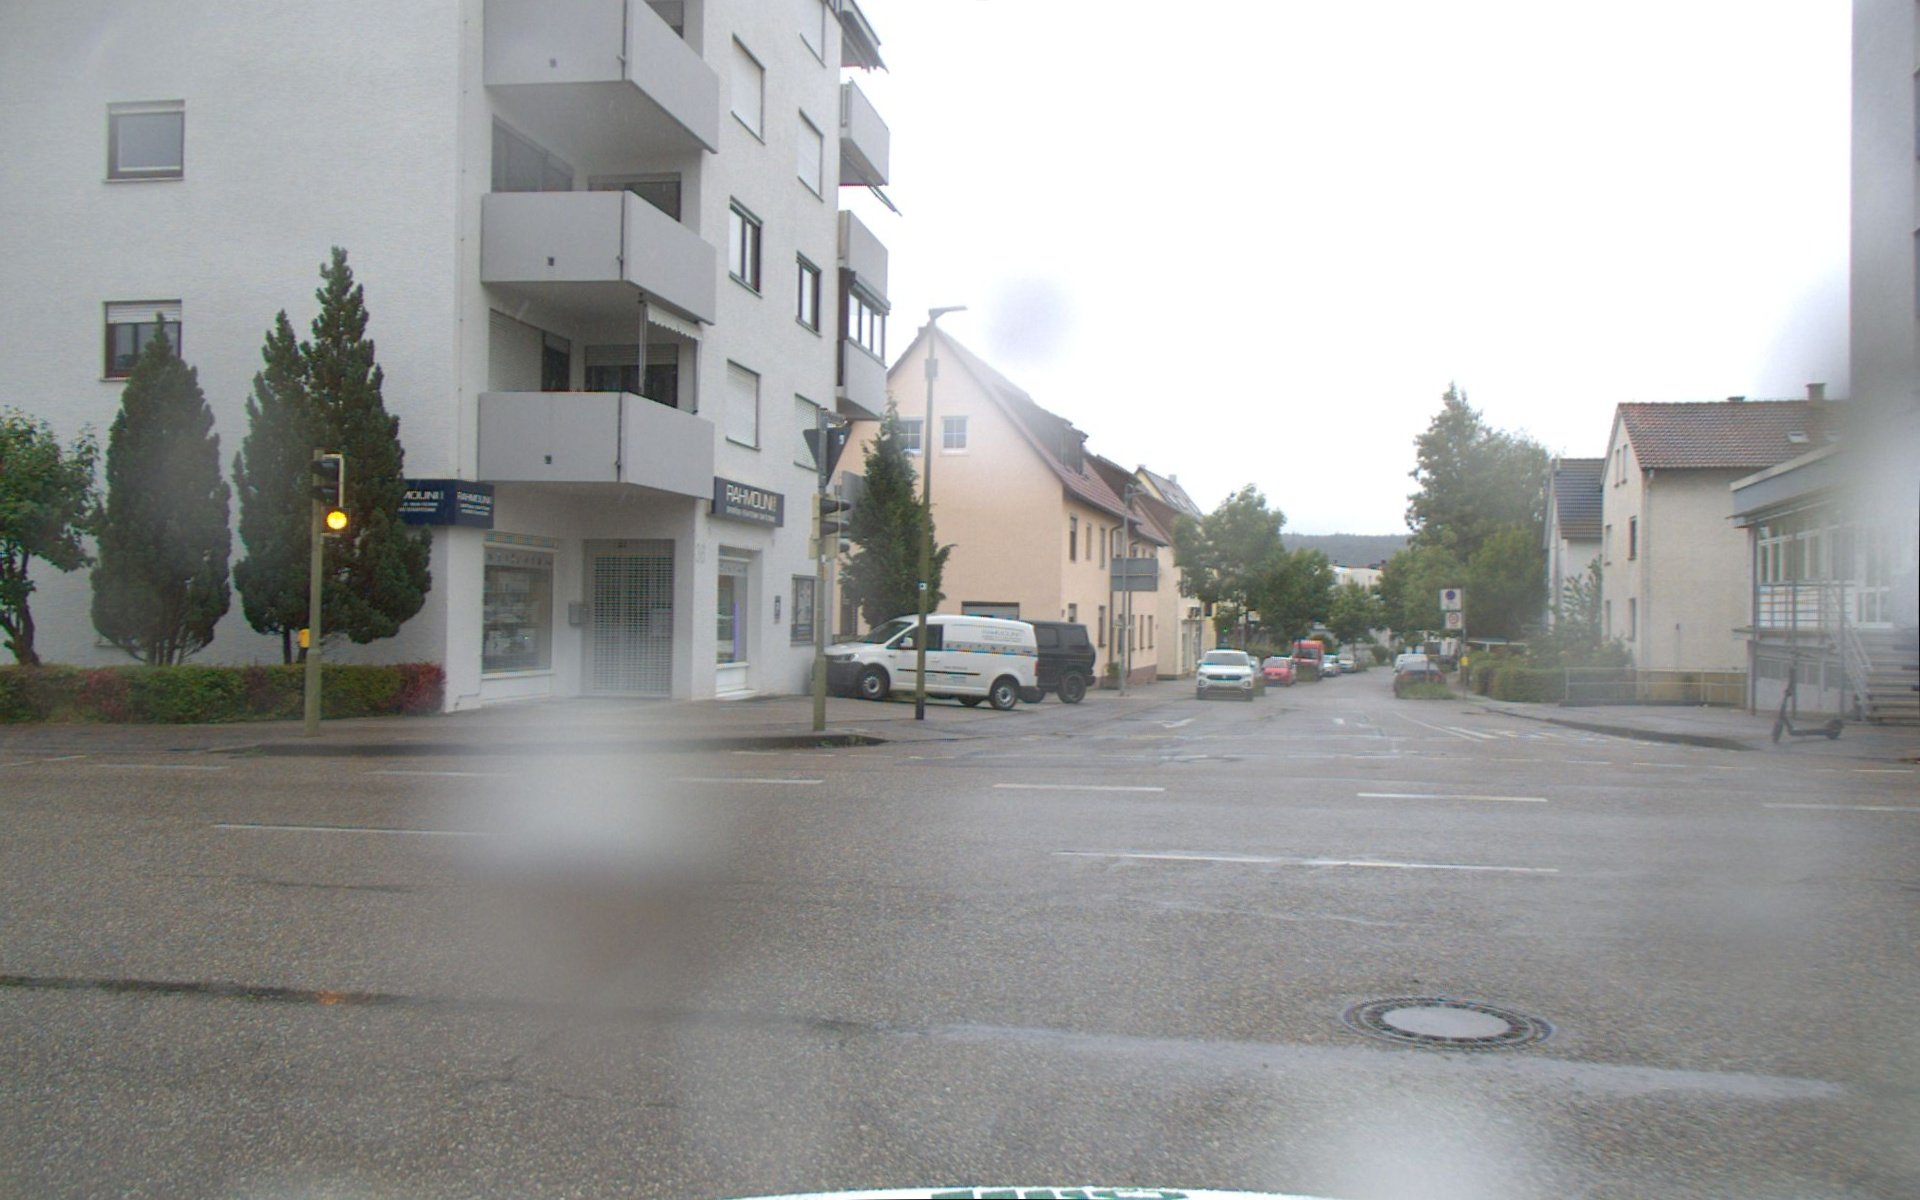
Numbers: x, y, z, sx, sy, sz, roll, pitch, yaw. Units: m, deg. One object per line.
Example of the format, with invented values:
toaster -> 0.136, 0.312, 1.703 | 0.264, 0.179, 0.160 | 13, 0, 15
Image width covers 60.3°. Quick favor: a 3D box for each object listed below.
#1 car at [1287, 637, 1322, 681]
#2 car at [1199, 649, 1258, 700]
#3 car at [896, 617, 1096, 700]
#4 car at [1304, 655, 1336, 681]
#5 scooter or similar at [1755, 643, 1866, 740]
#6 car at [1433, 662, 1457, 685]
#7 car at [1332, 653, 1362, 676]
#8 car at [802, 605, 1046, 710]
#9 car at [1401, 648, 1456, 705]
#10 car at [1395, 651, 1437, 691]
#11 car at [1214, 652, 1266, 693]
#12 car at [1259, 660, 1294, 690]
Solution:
car -> 22.786, 3.928, 109.312 | 2.169, 2.818, 5.728 | -1, -3, 12
car -> 8.546, 2.374, 52.482 | 1.729, 1.550, 4.003 | -1, -3, 11
car -> 0.893, 1.458, 40.635 | 4.551, 1.922, 1.946 | 1, -3, -27
car -> 26.247, 4.952, 120.599 | 1.951, 1.714, 4.001 | -1, -5, 17
scooter or similar -> 11.195, 1.215, 21.806 | 1.036, 1.249, 0.802 | 0, -5, 3
car -> 43.986, 6.664, 149.926 | 1.951, 2.049, 4.001 | -1, -3, 17
car -> 31.699, 5.292, 135.342 | 1.952, 1.736, 4.000 | -1, -5, 19
car -> -0.709, 1.216, 33.814 | 4.657, 1.810, 1.757 | 5, -5, -27
car -> 18.215, 2.998, 64.212 | 1.951, 2.049, 4.001 | -1, -5, 17
car -> 23.653, 3.689, 85.725 | 1.951, 2.049, 4.001 | -1, -3, 17
car -> 10.777, 2.791, 63.484 | 1.729, 1.545, 4.197 | -1, -3, 13
car -> 16.791, 3.981, 87.951 | 1.729, 1.545, 4.002 | -1, -3, 10
